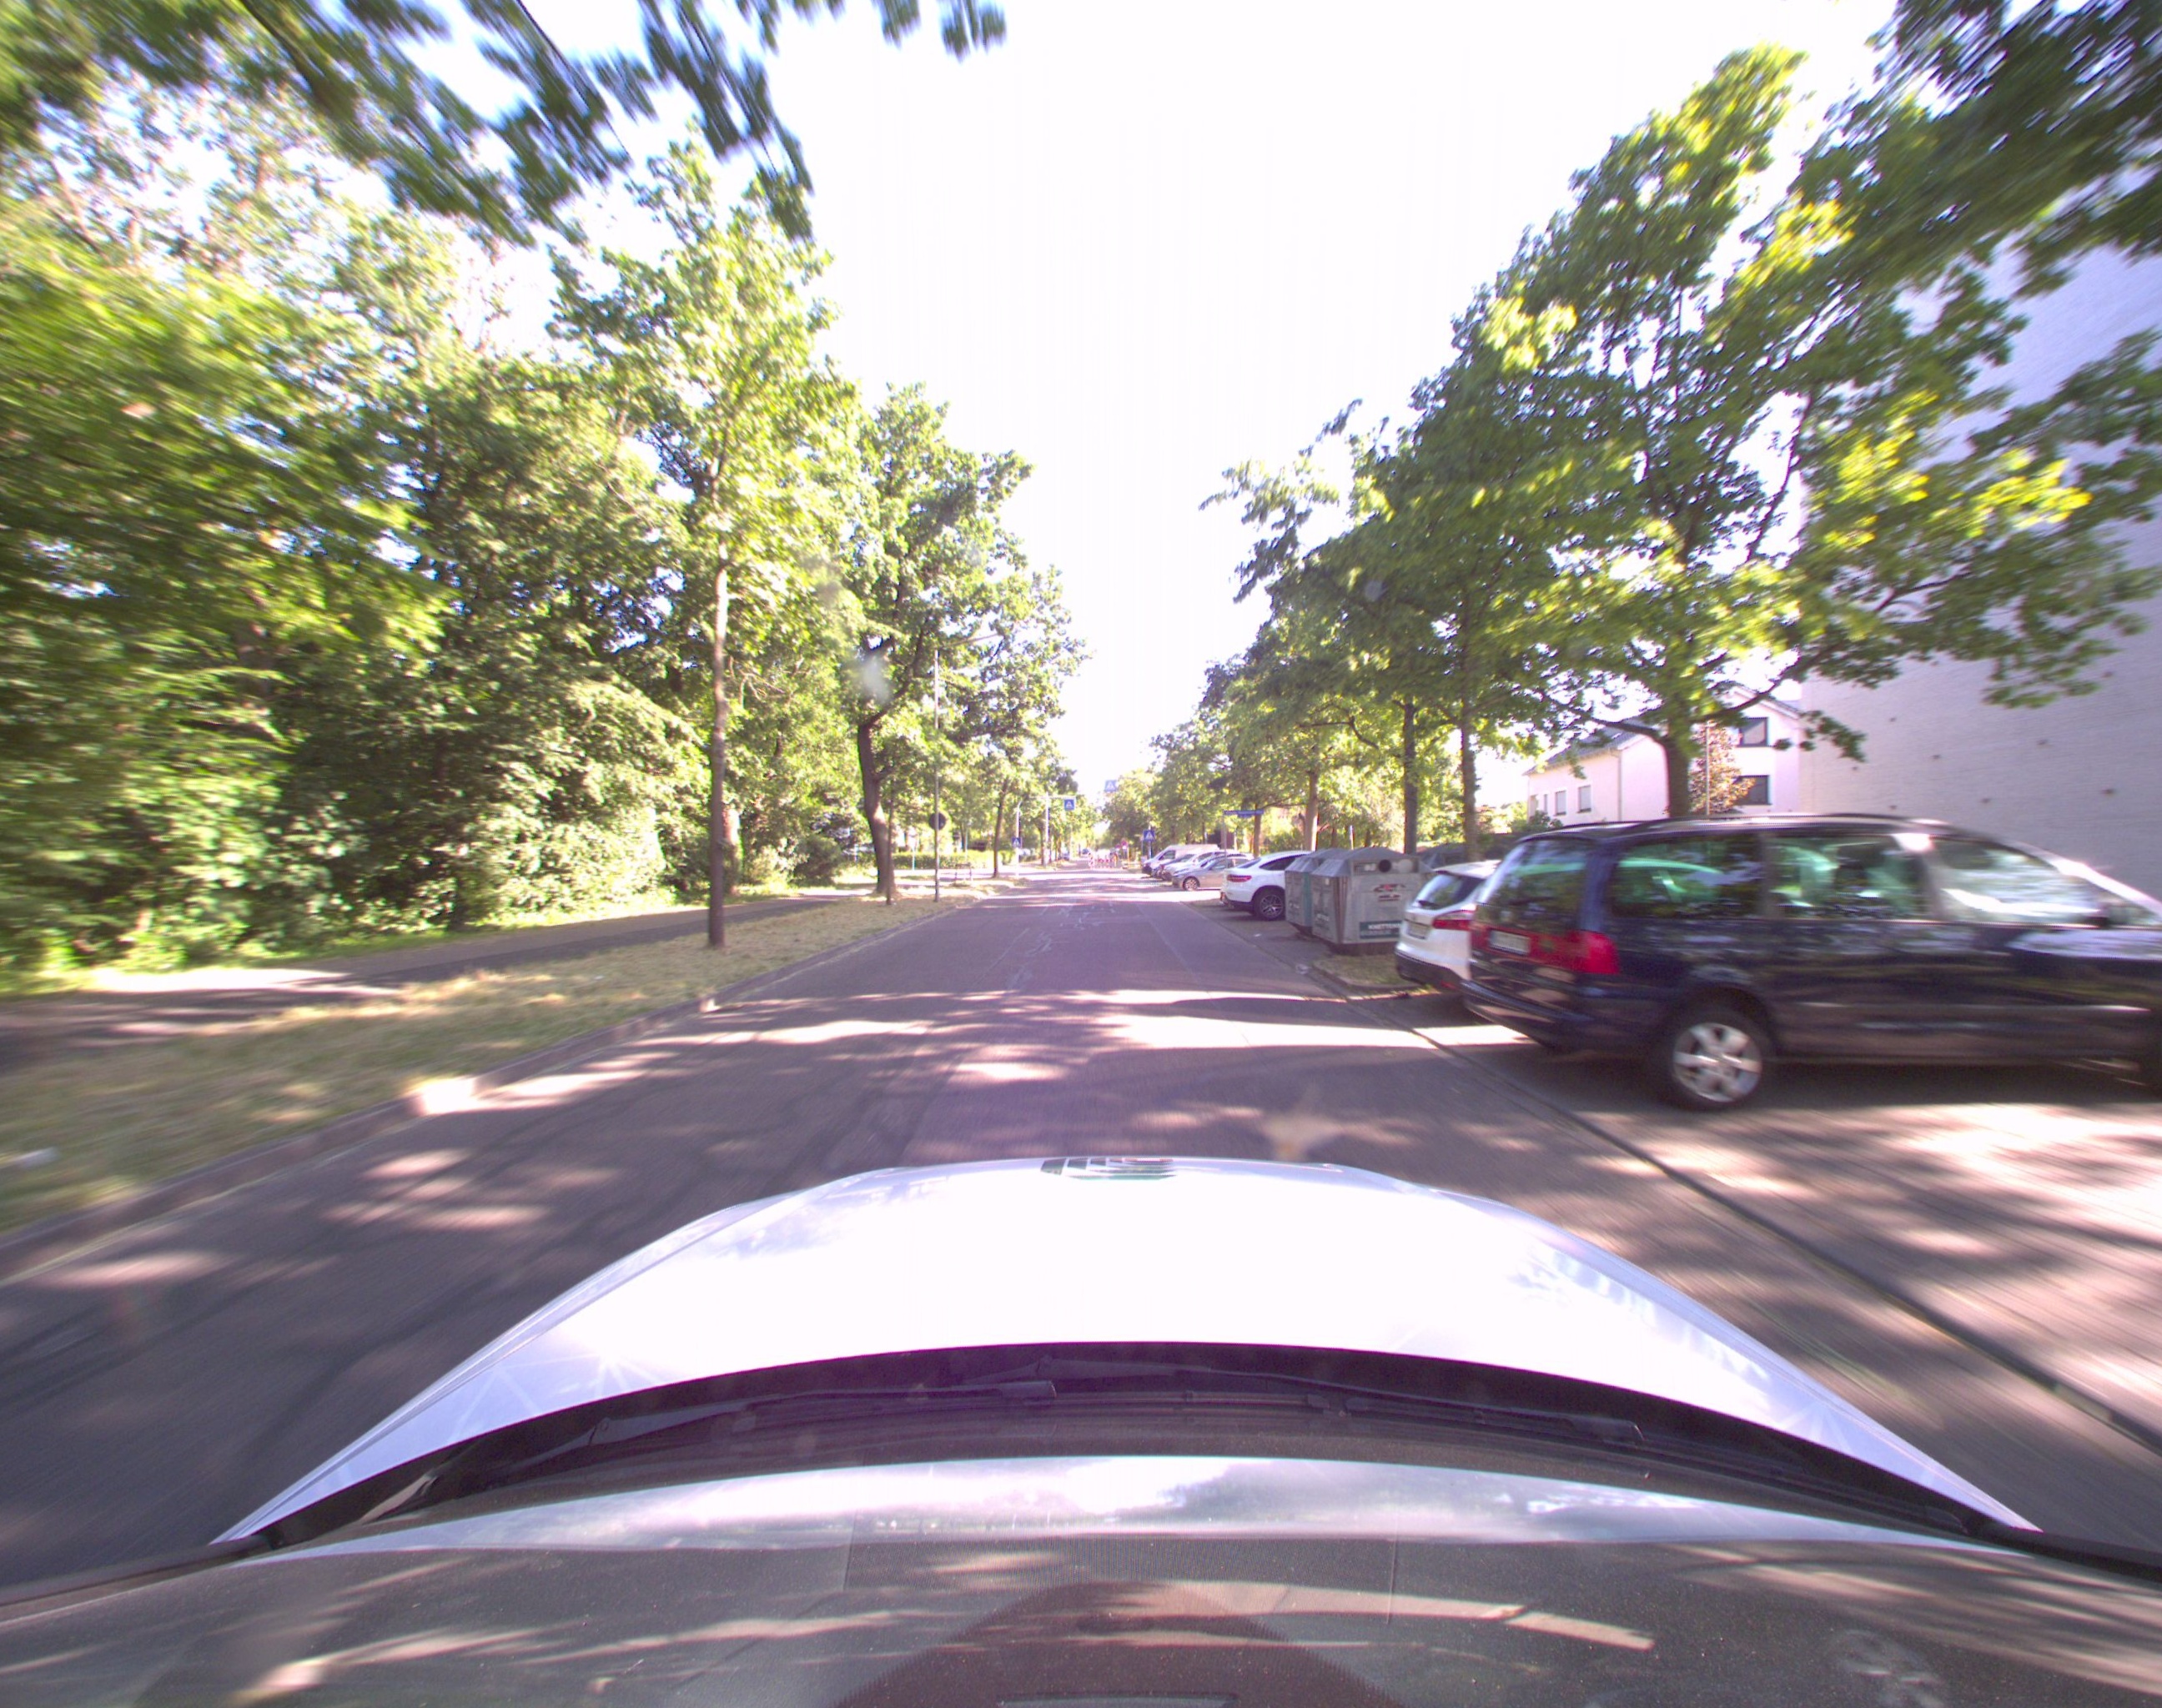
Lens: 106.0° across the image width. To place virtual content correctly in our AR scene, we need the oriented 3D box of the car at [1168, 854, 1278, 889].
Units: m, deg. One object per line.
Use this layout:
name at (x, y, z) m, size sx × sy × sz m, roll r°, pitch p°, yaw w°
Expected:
car at (6.058, 0.743, 35.122) m, size 4.429 × 1.390 × 1.911 m, roll -1°, pitch 0°, yaw 1°

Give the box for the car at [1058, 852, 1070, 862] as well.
car at (-2.825, 0.486, 136.222) m, size 1.987 × 1.716 × 4.000 m, roll 0°, pitch 0°, yaw 1°

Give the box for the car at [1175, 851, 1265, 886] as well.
car at (6.454, 0.666, 38.167) m, size 3.872 × 1.497 × 1.777 m, roll -2°, pitch 0°, yaw 0°

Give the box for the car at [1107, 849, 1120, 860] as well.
car at (5.110, 0.054, 129.858) m, size 1.987 × 1.716 × 4.000 m, roll 0°, pitch 0°, yaw 1°

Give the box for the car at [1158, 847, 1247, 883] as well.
car at (6.328, 0.563, 42.727) m, size 4.371 × 1.651 × 1.850 m, roll -2°, pitch 0°, yaw -1°

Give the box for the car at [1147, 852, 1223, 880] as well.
car at (6.073, 0.680, 47.894) m, size 4.200 × 1.568 × 1.933 m, roll 0°, pitch 0°, yaw -1°

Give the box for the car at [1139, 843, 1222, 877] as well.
car at (6.429, 0.390, 53.041) m, size 5.171 × 2.105 × 2.082 m, roll -1°, pitch 0°, yaw -1°

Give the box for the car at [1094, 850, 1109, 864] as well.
car at (2.703, 0.403, 108.885) m, size 1.987 × 1.933 × 4.000 m, roll 0°, pitch 0°, yaw 1°

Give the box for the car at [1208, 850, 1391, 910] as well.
car at (6.091, 0.704, 23.087) m, size 4.655 × 1.455 × 1.917 m, roll -2°, pitch 0°, yaw 0°

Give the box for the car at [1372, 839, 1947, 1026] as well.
car at (5.239, 0.676, 7.863) m, size 4.204 × 1.472 × 1.801 m, roll -2°, pitch 0°, yaw 2°

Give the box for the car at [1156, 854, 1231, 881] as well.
car at (6.193, 0.749, 45.264) m, size 3.970 × 1.433 × 1.902 m, roll -1°, pitch 0°, yaw 2°

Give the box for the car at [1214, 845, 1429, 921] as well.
car at (5.718, 0.669, 19.810) m, size 4.653 × 1.580 × 1.917 m, roll -2°, pitch 0°, yaw 1°
